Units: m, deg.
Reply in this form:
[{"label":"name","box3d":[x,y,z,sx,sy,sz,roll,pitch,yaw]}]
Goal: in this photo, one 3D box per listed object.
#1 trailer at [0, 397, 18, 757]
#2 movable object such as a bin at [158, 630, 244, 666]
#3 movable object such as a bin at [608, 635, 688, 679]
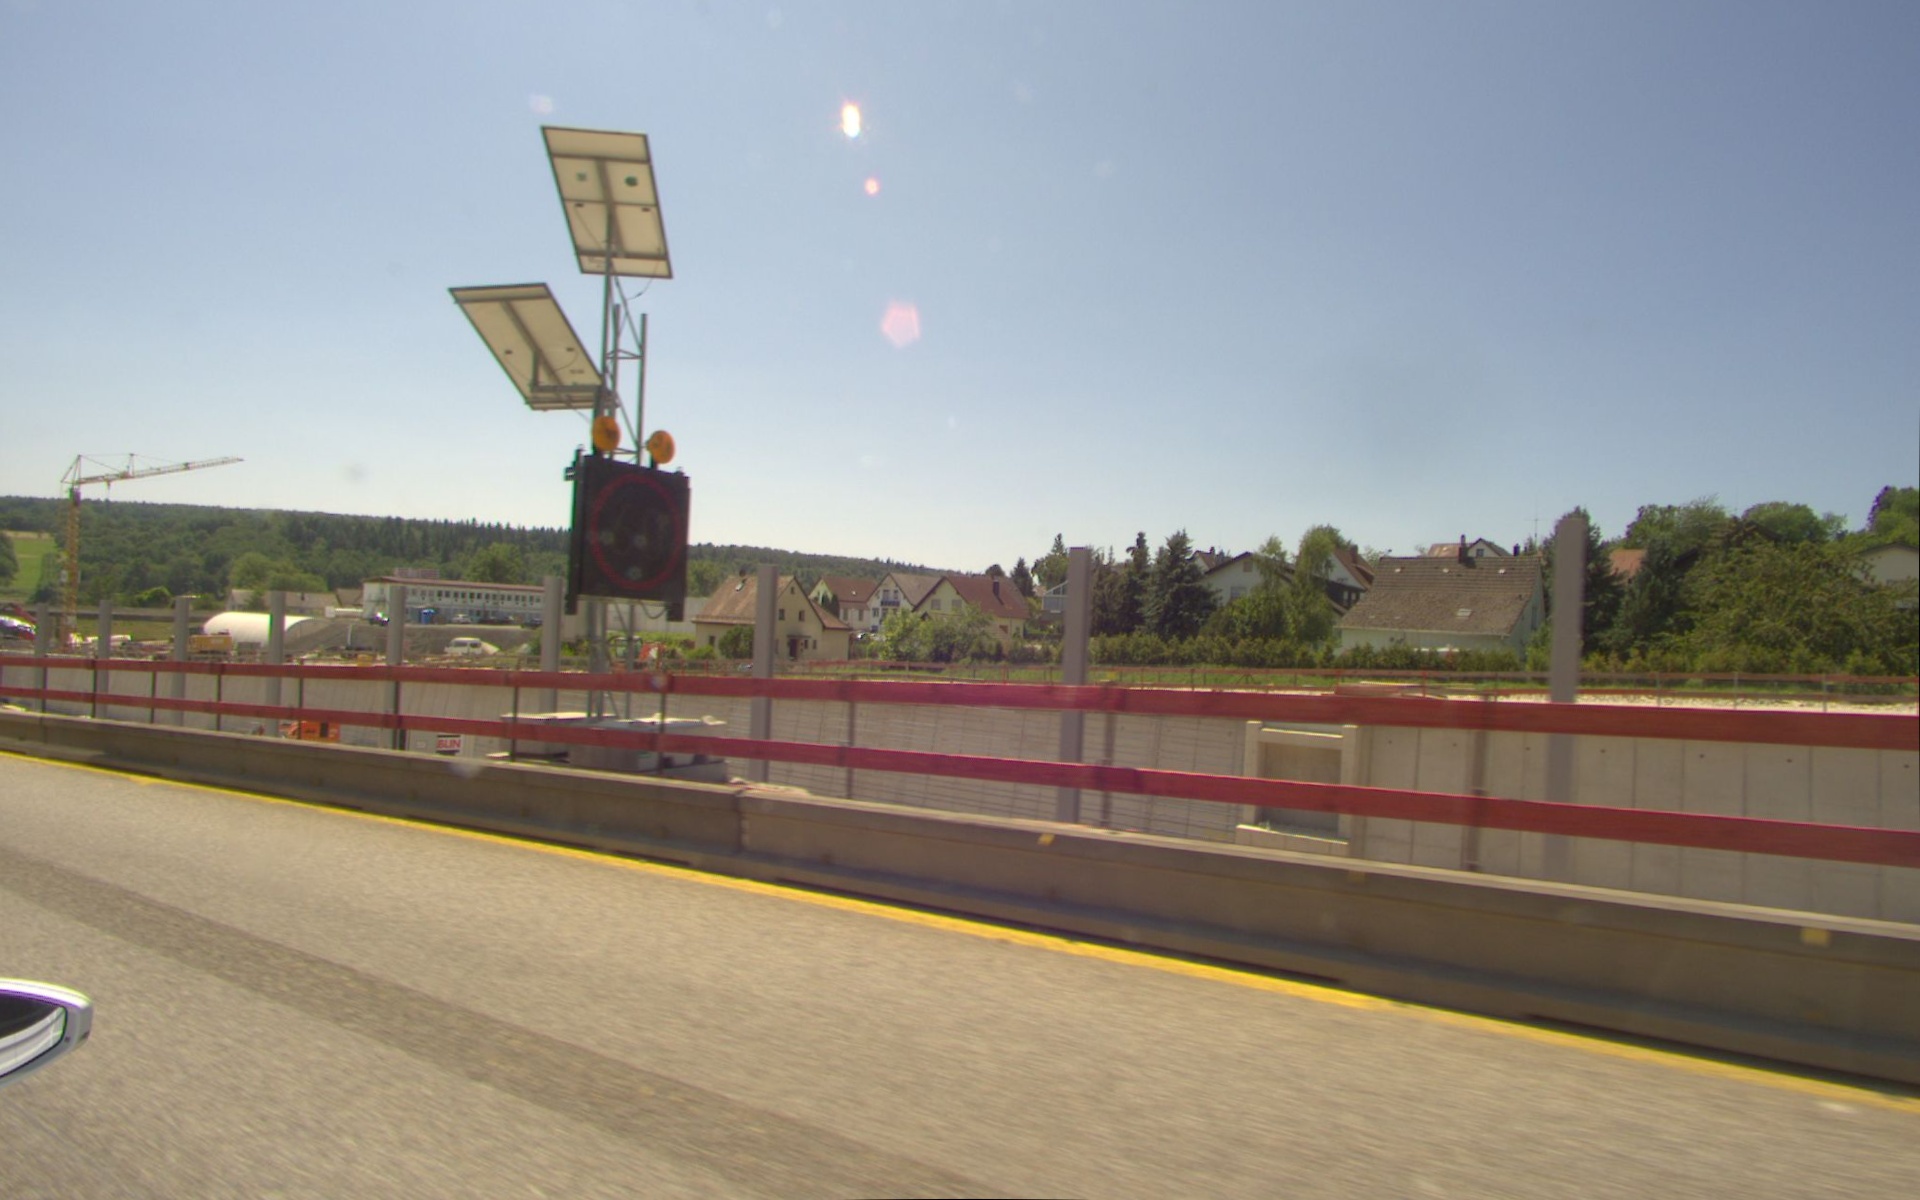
[{"label":"trailer","box3d":[-17.491,-0.154,14.068,13.915,4.110,2.797,-1,-2,32]},{"label":"movable object such as a bin","box3d":[-65.167,4.019,85.868,9.346,2.946,2.882,-1,-2,33]},{"label":"movable object such as a bin","box3d":[-16.792,3.039,53.907,4.093,2.267,1.990,-1,-2,33]}]
